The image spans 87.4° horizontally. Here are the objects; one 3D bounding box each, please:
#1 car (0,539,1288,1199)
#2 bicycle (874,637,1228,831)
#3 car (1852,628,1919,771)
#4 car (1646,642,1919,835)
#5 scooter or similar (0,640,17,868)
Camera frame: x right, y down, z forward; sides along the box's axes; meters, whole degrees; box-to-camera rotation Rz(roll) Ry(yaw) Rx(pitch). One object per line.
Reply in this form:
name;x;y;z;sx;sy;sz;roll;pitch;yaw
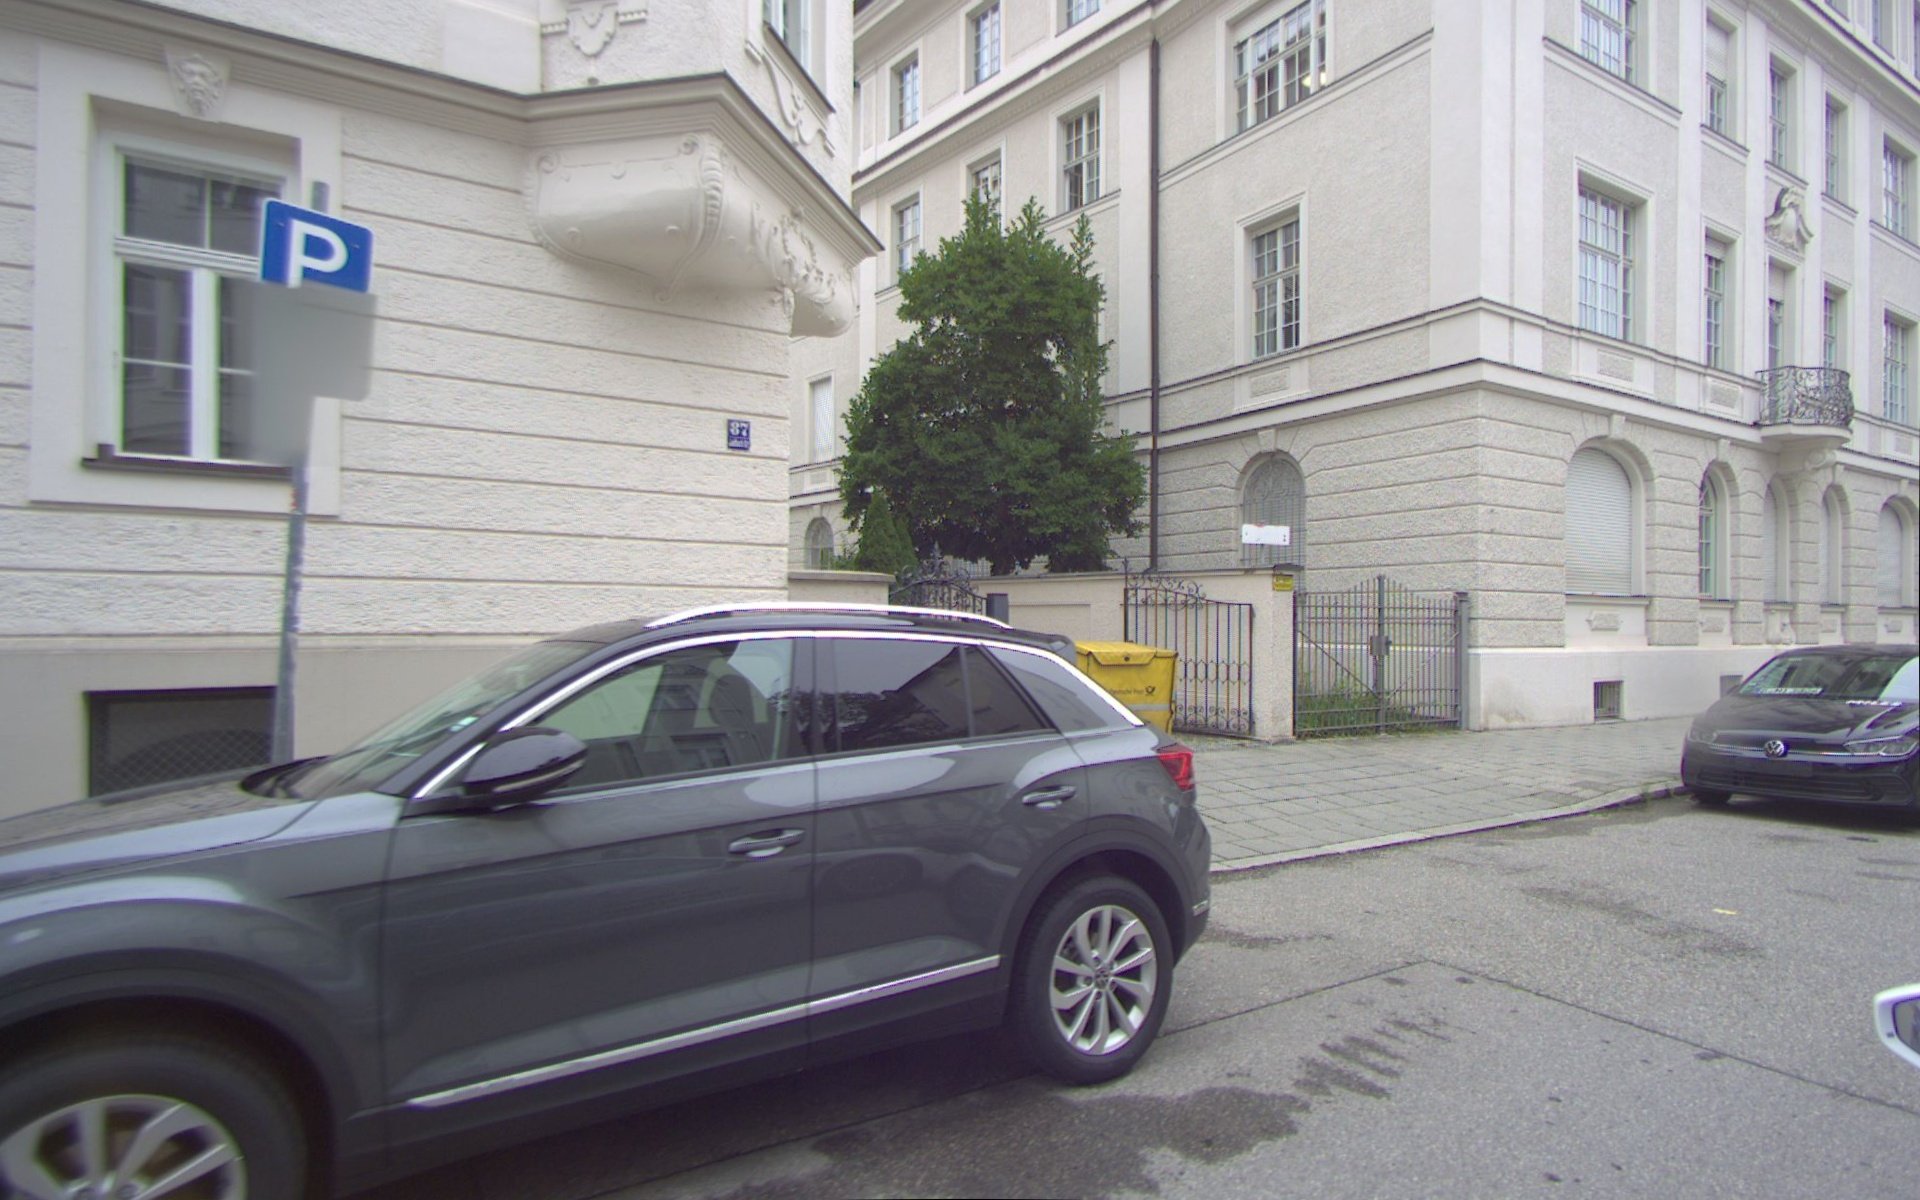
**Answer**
car;-0.957;0.777;3.351;4.077;1.640;1.717;1;-3;-33
bicycle;0.773;0.983;8.202;2.685;1.259;1.146;1;3;-31
car;12.369;1.110;11.861;4.214;1.561;1.772;1;-3;-35
car;8.446;1.124;9.373;4.230;1.433;1.784;1;-4;-32
scooter or similar;-5.885;0.830;5.080;1.530;1.238;0.491;1;-1;-31
